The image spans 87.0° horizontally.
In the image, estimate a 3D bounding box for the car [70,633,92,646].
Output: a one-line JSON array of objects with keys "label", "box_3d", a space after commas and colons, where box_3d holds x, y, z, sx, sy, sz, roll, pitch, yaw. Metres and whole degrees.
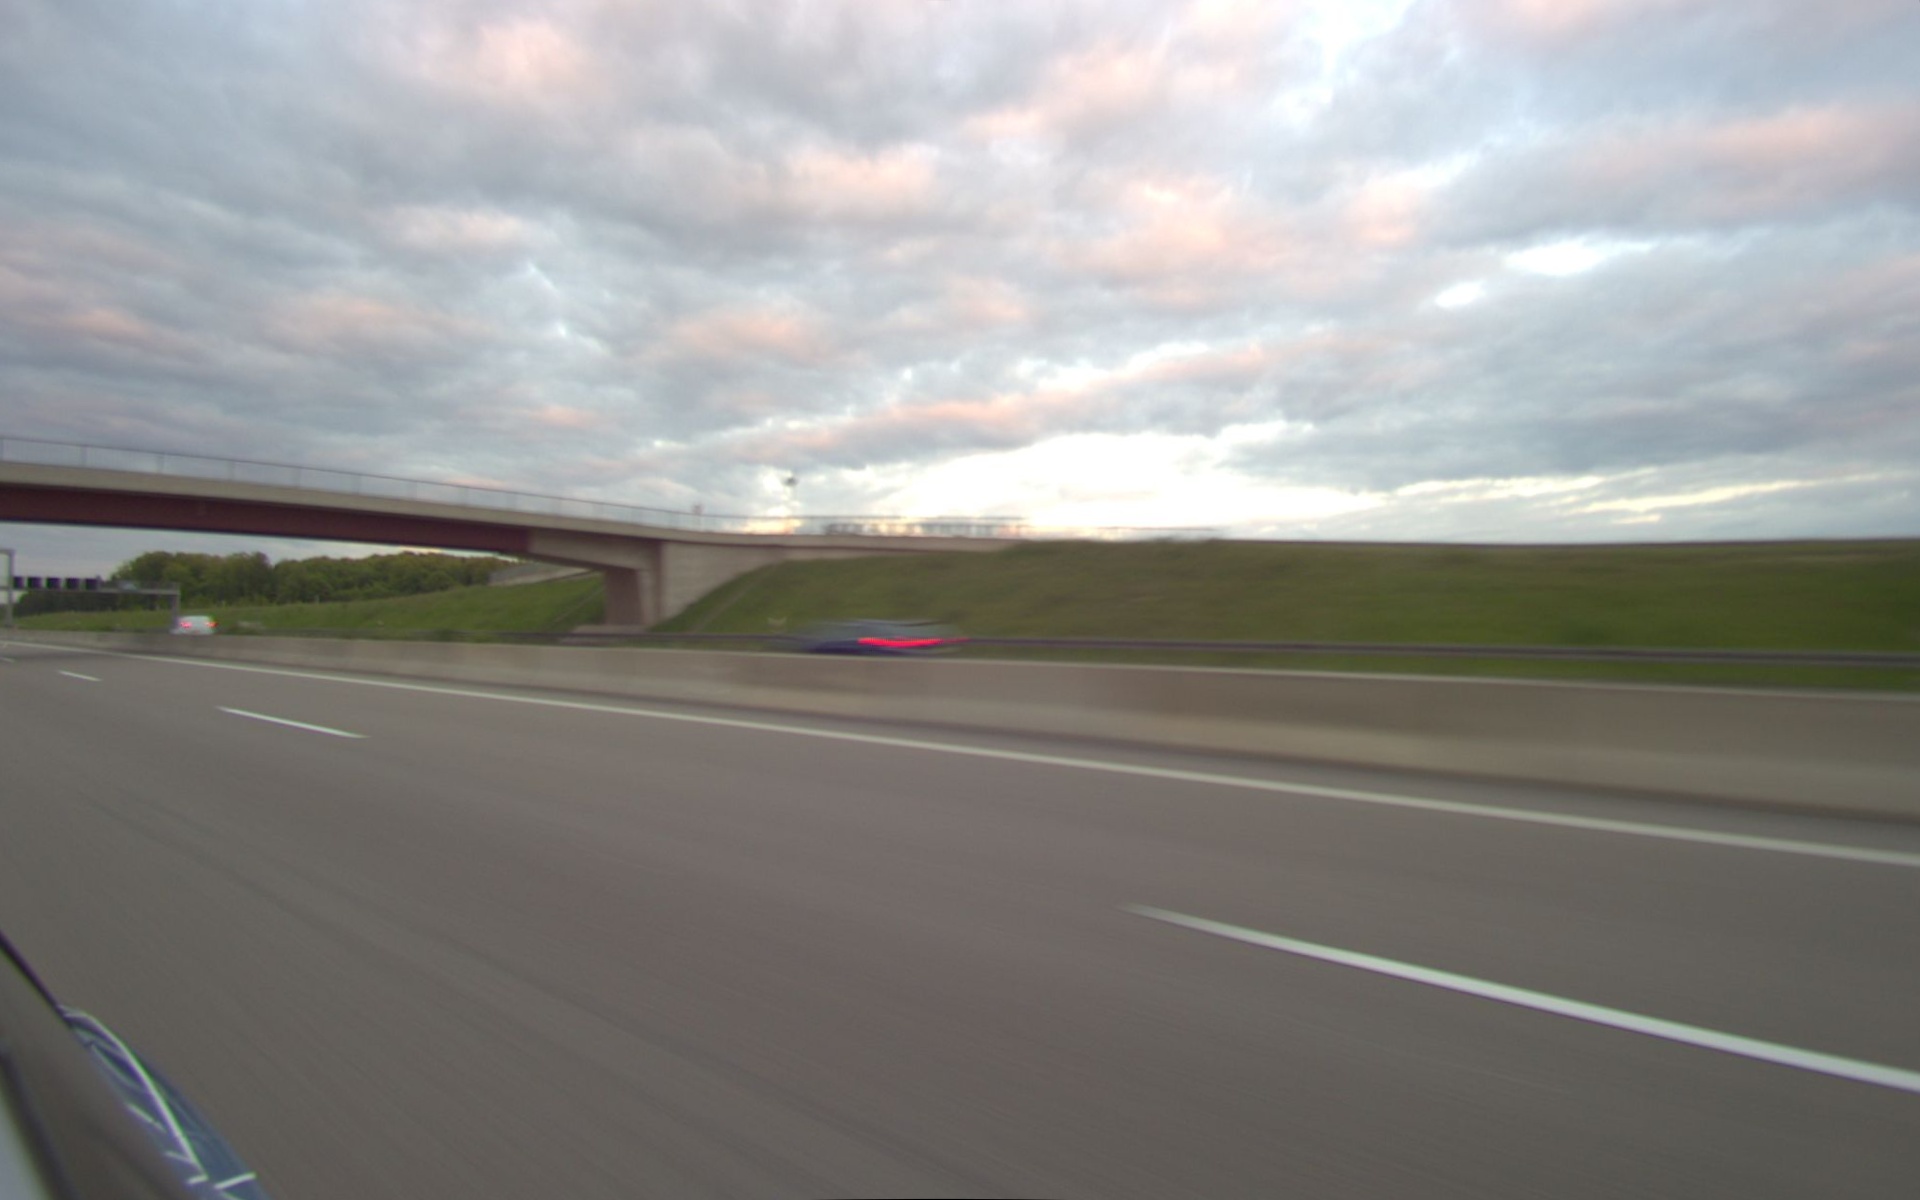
[{"label": "car", "box_3d": [-114.298, 5.155, 131.584, 3.998, 1.569, 1.585, -2, -1, 42]}]

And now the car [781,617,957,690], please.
[{"label": "car", "box_3d": [-2.423, 1.331, 26.190, 4.648, 1.675, 1.806, -2, -1, 41]}]

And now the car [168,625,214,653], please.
[{"label": "car", "box_3d": [-57.849, 2.920, 76.091, 4.891, 1.950, 1.804, -2, -1, 41]}]
